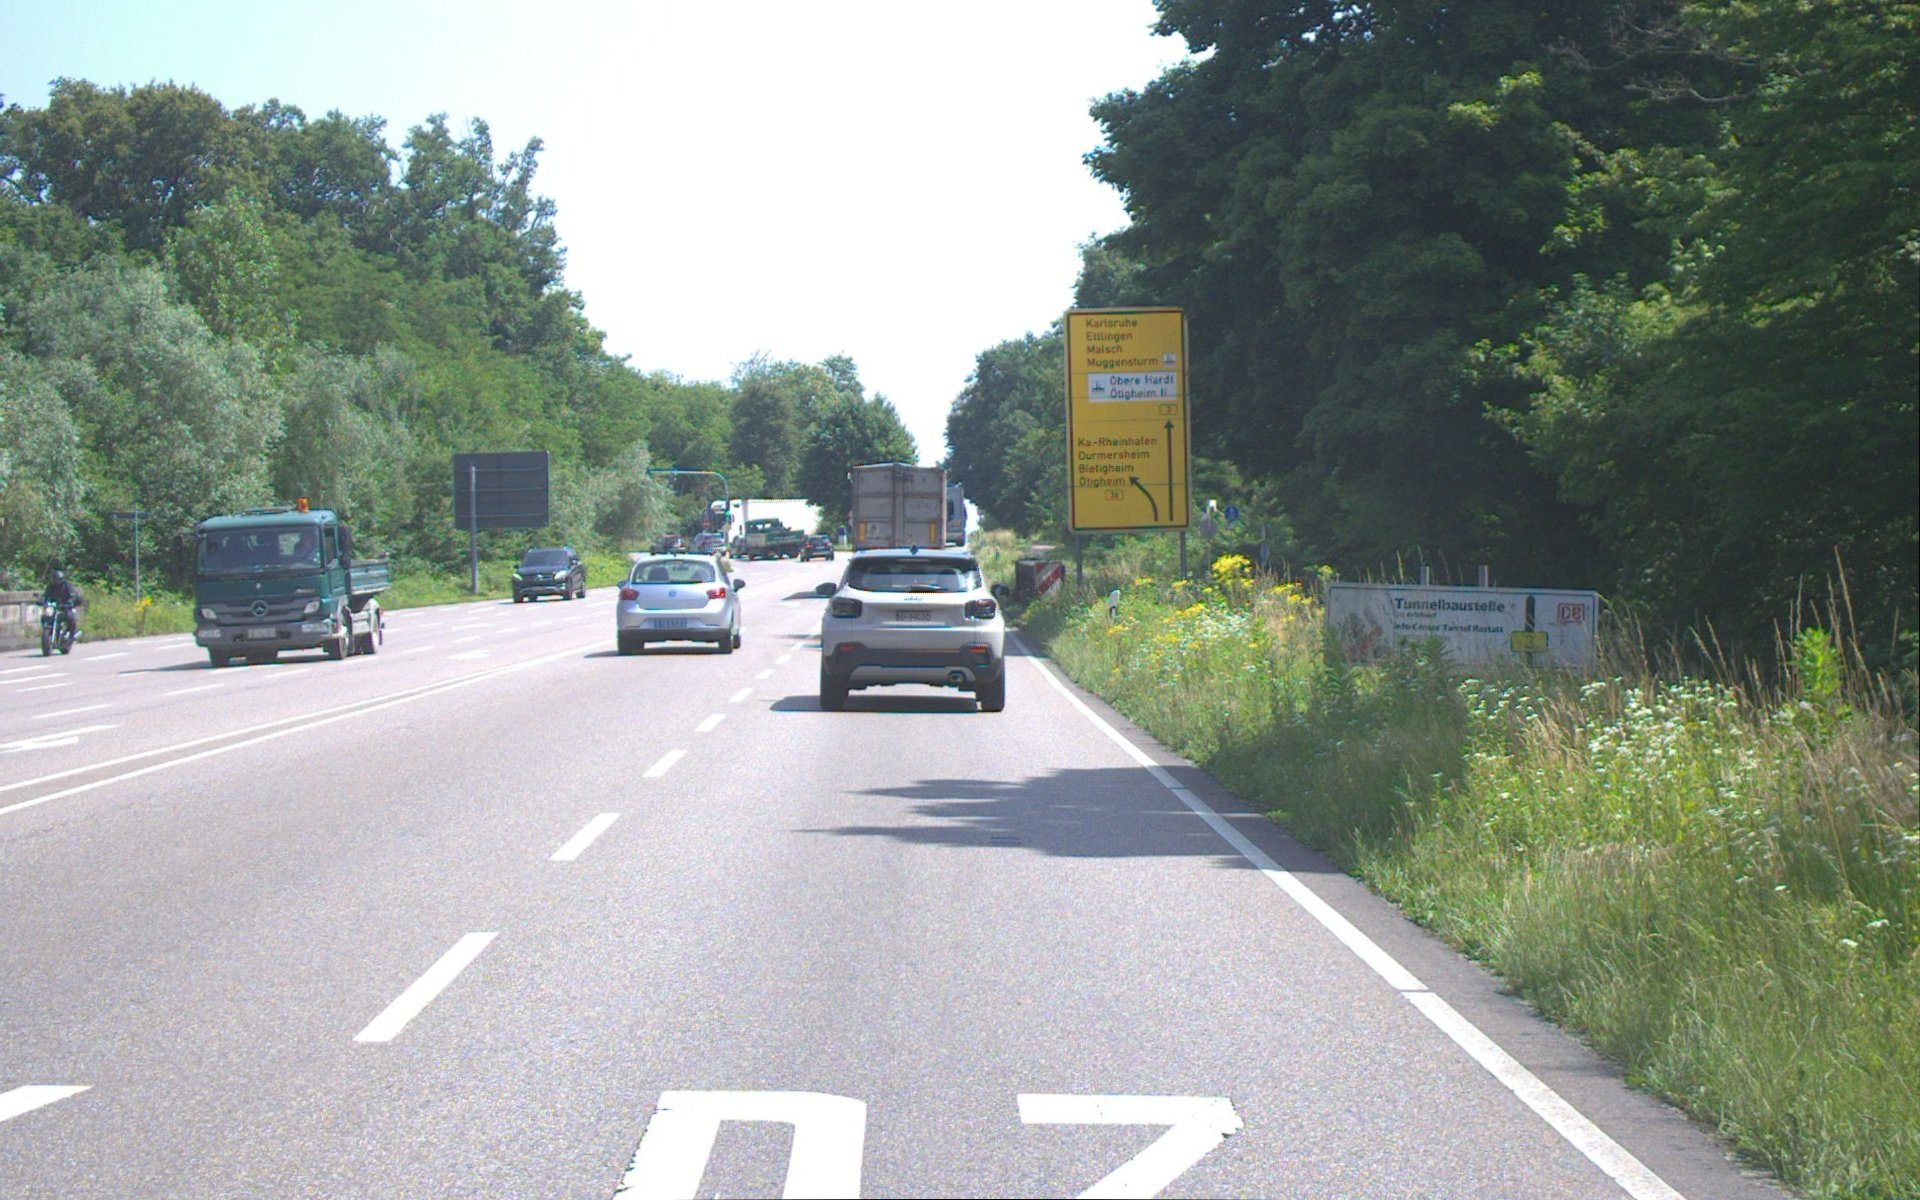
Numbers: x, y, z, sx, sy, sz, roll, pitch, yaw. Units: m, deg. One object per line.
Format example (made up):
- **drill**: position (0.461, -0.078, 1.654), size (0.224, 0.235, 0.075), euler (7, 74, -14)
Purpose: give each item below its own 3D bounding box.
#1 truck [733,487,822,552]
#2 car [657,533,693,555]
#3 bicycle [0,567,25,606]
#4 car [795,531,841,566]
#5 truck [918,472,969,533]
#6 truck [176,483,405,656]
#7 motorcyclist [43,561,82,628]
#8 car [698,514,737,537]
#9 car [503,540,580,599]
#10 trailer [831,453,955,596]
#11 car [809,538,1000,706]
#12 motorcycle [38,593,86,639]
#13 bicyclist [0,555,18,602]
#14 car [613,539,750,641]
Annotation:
- **truck**: position (-11.831, -5.173, 222.058), size (3.645, 4.091, 9.512), euler (0, 1, -16)
- **car**: position (-20.784, -4.096, 250.792), size (1.993, 1.579, 4.001), euler (0, 1, -14)
- **bicycle**: position (-24.760, -0.340, 88.656), size (0.604, 1.002, 1.555), euler (-2, 1, 11)
- **car**: position (-8.479, -3.070, 205.055), size (1.993, 2.007, 4.555), euler (-2, 1, -11)
- **truck**: position (-1.230, -6.869, 244.695), size (3.497, 4.173, 10.785), euler (0, 1, -1)
- **truck**: position (-11.334, -0.573, 58.758), size (2.454, 2.647, 6.491), euler (-4, 1, 0)
- **motorcyclist**: position (-18.275, -0.116, 69.995), size (0.577, 1.349, 0.754), euler (-2, 1, -2)
- **car**: position (-16.780, -5.127, 237.716), size (1.993, 1.579, 4.001), euler (0, 1, -14)
- **car**: position (-14.048, -1.049, 115.690), size (1.993, 1.875, 4.960), euler (-2, 1, -1)
- **trailer**: position (-1.885, -2.183, 101.424), size (3.382, 3.975, 10.804), euler (0, 1, 0)
- **car**: position (-0.498, 0.167, 34.041), size (1.767, 1.529, 4.000), euler (-1, 1, 1)
- **motorcycle**: position (-18.263, 0.322, 69.962), size (0.517, 0.890, 1.910), euler (-2, 1, -2)
- **bicyclist**: position (-24.752, -0.540, 88.545), size (0.735, 1.191, 0.592), euler (-2, 1, 11)
- **car**: position (-4.054, -0.178, 50.485), size (1.666, 1.425, 3.828), euler (0, 1, 1)
